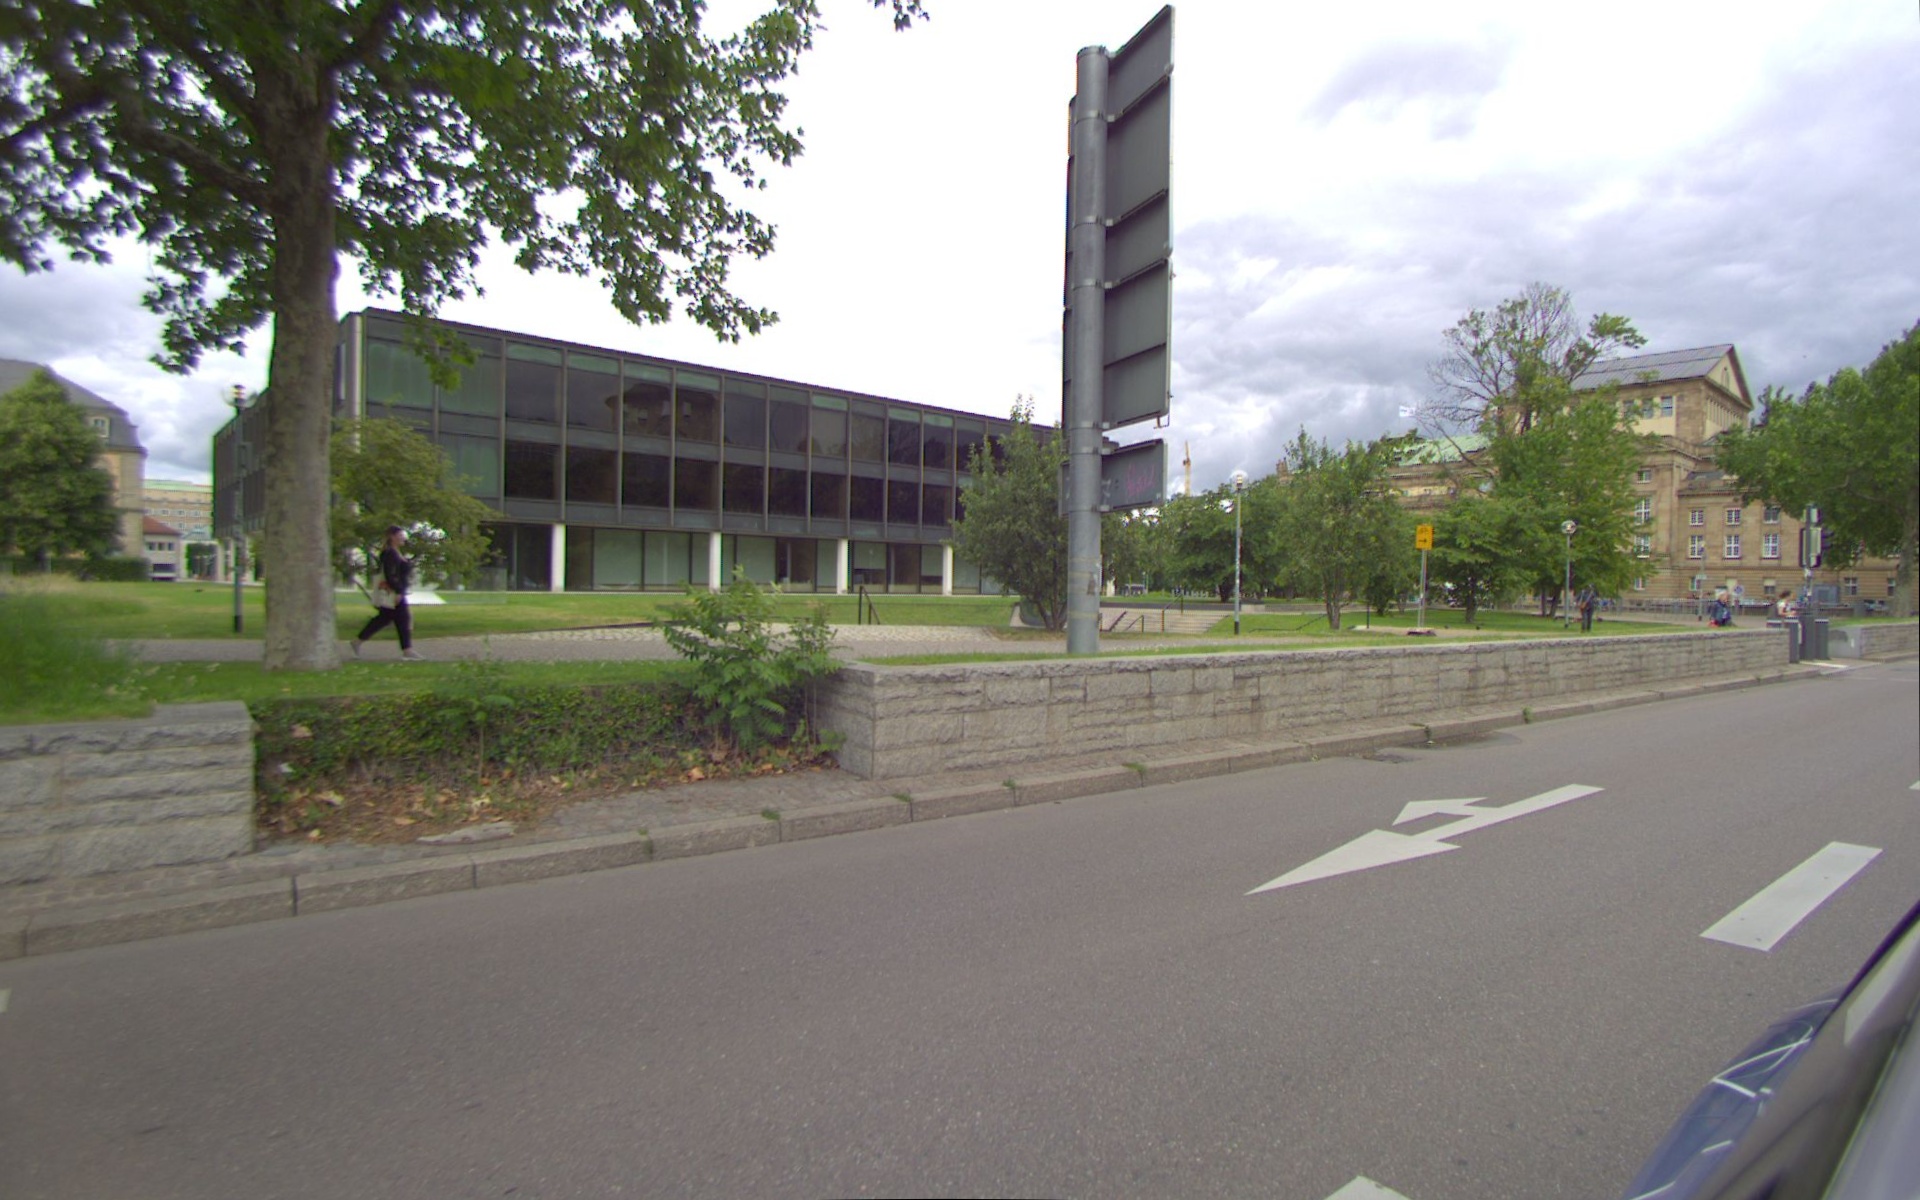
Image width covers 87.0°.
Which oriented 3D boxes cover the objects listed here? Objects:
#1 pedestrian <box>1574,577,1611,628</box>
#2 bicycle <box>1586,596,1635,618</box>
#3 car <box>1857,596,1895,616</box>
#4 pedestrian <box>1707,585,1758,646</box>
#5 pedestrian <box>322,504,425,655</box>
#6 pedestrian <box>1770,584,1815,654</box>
[{"bbox_3d":[20.640,0.067,33.026,0.614,1.646,0.805,1,0,-33],"label":"pedestrian"},{"bbox_3d":[36.507,0.370,56.851,0.673,1.156,2.196,1,1,-40],"label":"bicycle"},{"bbox_3d":[75.215,0.488,83.092,4.142,1.537,1.767,2,0,-40],"label":"car"},{"bbox_3d":[20.615,0.410,27.026,0.889,1.581,0.686,1,1,-23],"label":"pedestrian"},{"bbox_3d":[-7.195,-0.226,12.416,0.952,1.755,0.897,0,-2,-41],"label":"pedestrian"},{"bbox_3d":[20.197,0.452,24.556,0.672,1.677,0.698,0,-1,-42],"label":"pedestrian"}]
